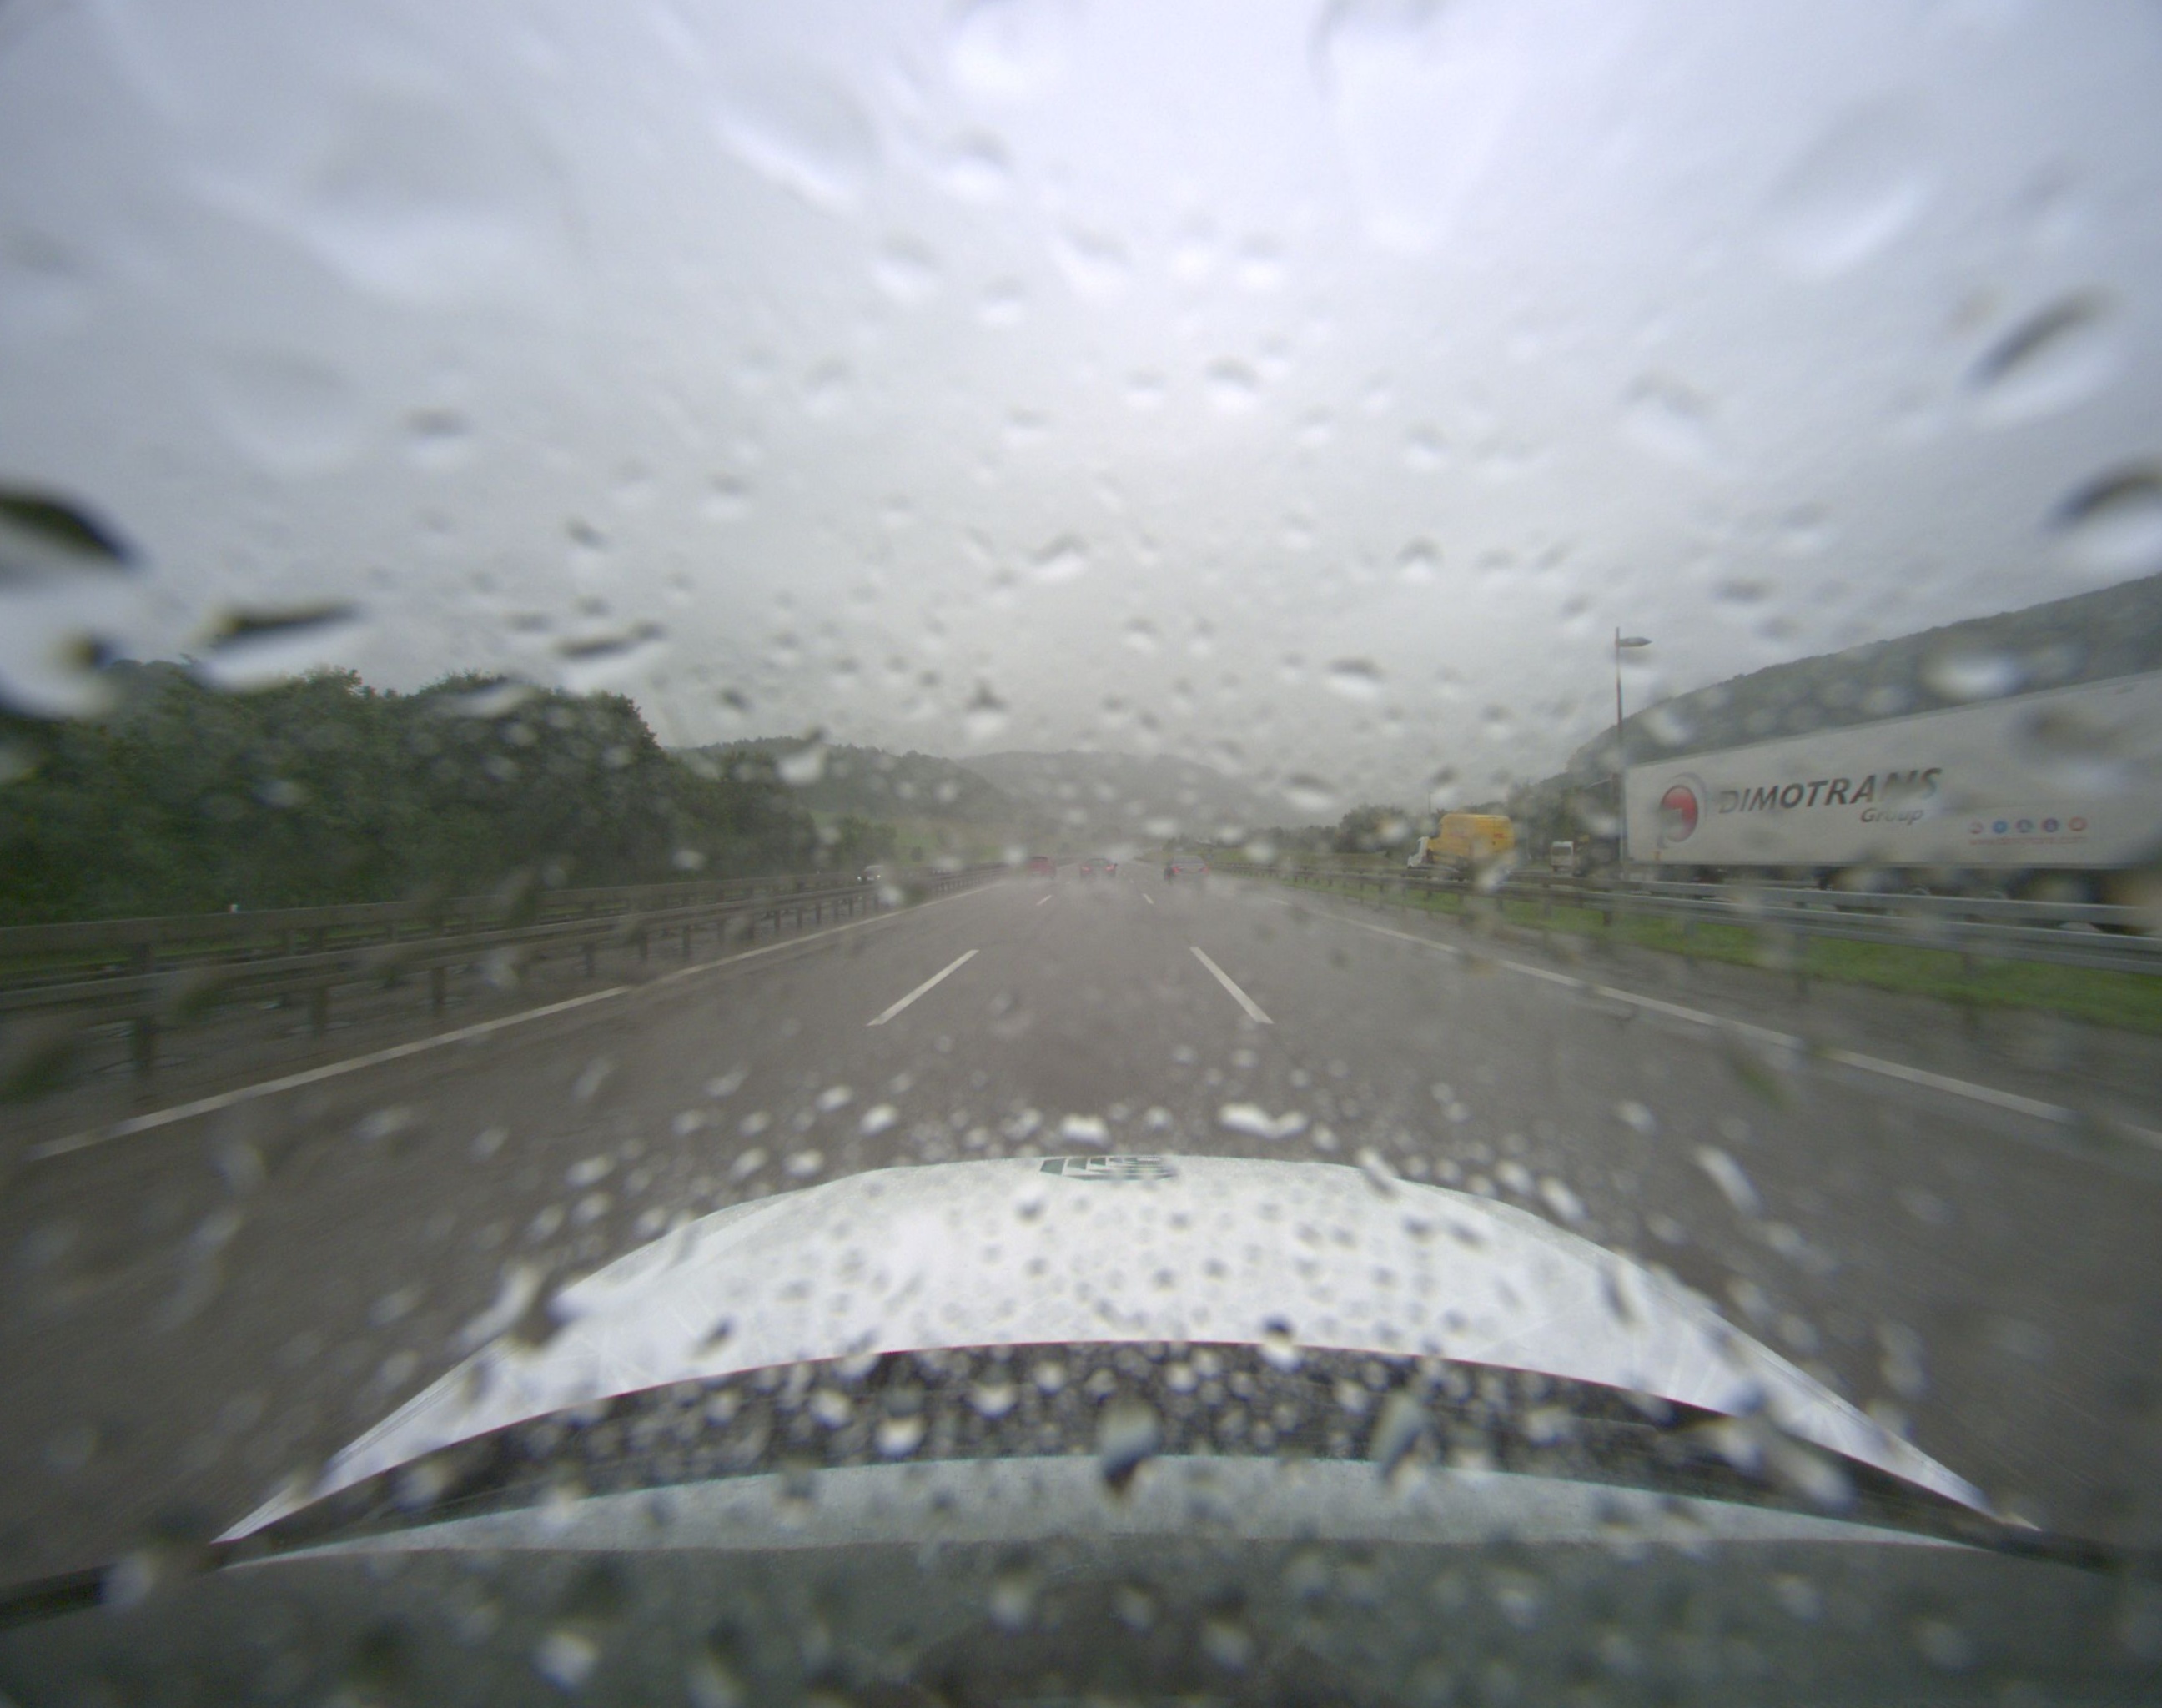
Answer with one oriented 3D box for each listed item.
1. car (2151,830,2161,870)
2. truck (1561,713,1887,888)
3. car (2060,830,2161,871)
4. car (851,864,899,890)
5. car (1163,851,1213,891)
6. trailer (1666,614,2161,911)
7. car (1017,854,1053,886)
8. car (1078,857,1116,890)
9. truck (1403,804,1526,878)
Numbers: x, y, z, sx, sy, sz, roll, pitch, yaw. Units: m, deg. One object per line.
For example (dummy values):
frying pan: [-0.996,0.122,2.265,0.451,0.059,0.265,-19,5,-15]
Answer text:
car: [54.863,-0.186,39.206,1.779,2.014,4.010,0,0,9]
truck: [17.853,-1.278,23.619,3.513,4.220,7.821,0,0,2]
car: [53.007,-0.161,41.395,1.982,2.014,4.010,0,0,8]
car: [-15.001,1.631,59.574,1.986,1.692,5.306,-2,0,2]
car: [5.102,0.780,39.334,1.964,1.760,4.002,-2,0,2]
trailer: [17.496,-1.295,16.312,3.502,4.261,11.929,0,0,3]
car: [-2.810,0.959,50.595,1.878,1.816,4.001,-1,0,1]
car: [0.853,0.958,41.053,1.852,1.589,4.002,0,0,2]
truck: [18.089,-0.544,39.142,2.281,3.147,8.872,0,0,4]
